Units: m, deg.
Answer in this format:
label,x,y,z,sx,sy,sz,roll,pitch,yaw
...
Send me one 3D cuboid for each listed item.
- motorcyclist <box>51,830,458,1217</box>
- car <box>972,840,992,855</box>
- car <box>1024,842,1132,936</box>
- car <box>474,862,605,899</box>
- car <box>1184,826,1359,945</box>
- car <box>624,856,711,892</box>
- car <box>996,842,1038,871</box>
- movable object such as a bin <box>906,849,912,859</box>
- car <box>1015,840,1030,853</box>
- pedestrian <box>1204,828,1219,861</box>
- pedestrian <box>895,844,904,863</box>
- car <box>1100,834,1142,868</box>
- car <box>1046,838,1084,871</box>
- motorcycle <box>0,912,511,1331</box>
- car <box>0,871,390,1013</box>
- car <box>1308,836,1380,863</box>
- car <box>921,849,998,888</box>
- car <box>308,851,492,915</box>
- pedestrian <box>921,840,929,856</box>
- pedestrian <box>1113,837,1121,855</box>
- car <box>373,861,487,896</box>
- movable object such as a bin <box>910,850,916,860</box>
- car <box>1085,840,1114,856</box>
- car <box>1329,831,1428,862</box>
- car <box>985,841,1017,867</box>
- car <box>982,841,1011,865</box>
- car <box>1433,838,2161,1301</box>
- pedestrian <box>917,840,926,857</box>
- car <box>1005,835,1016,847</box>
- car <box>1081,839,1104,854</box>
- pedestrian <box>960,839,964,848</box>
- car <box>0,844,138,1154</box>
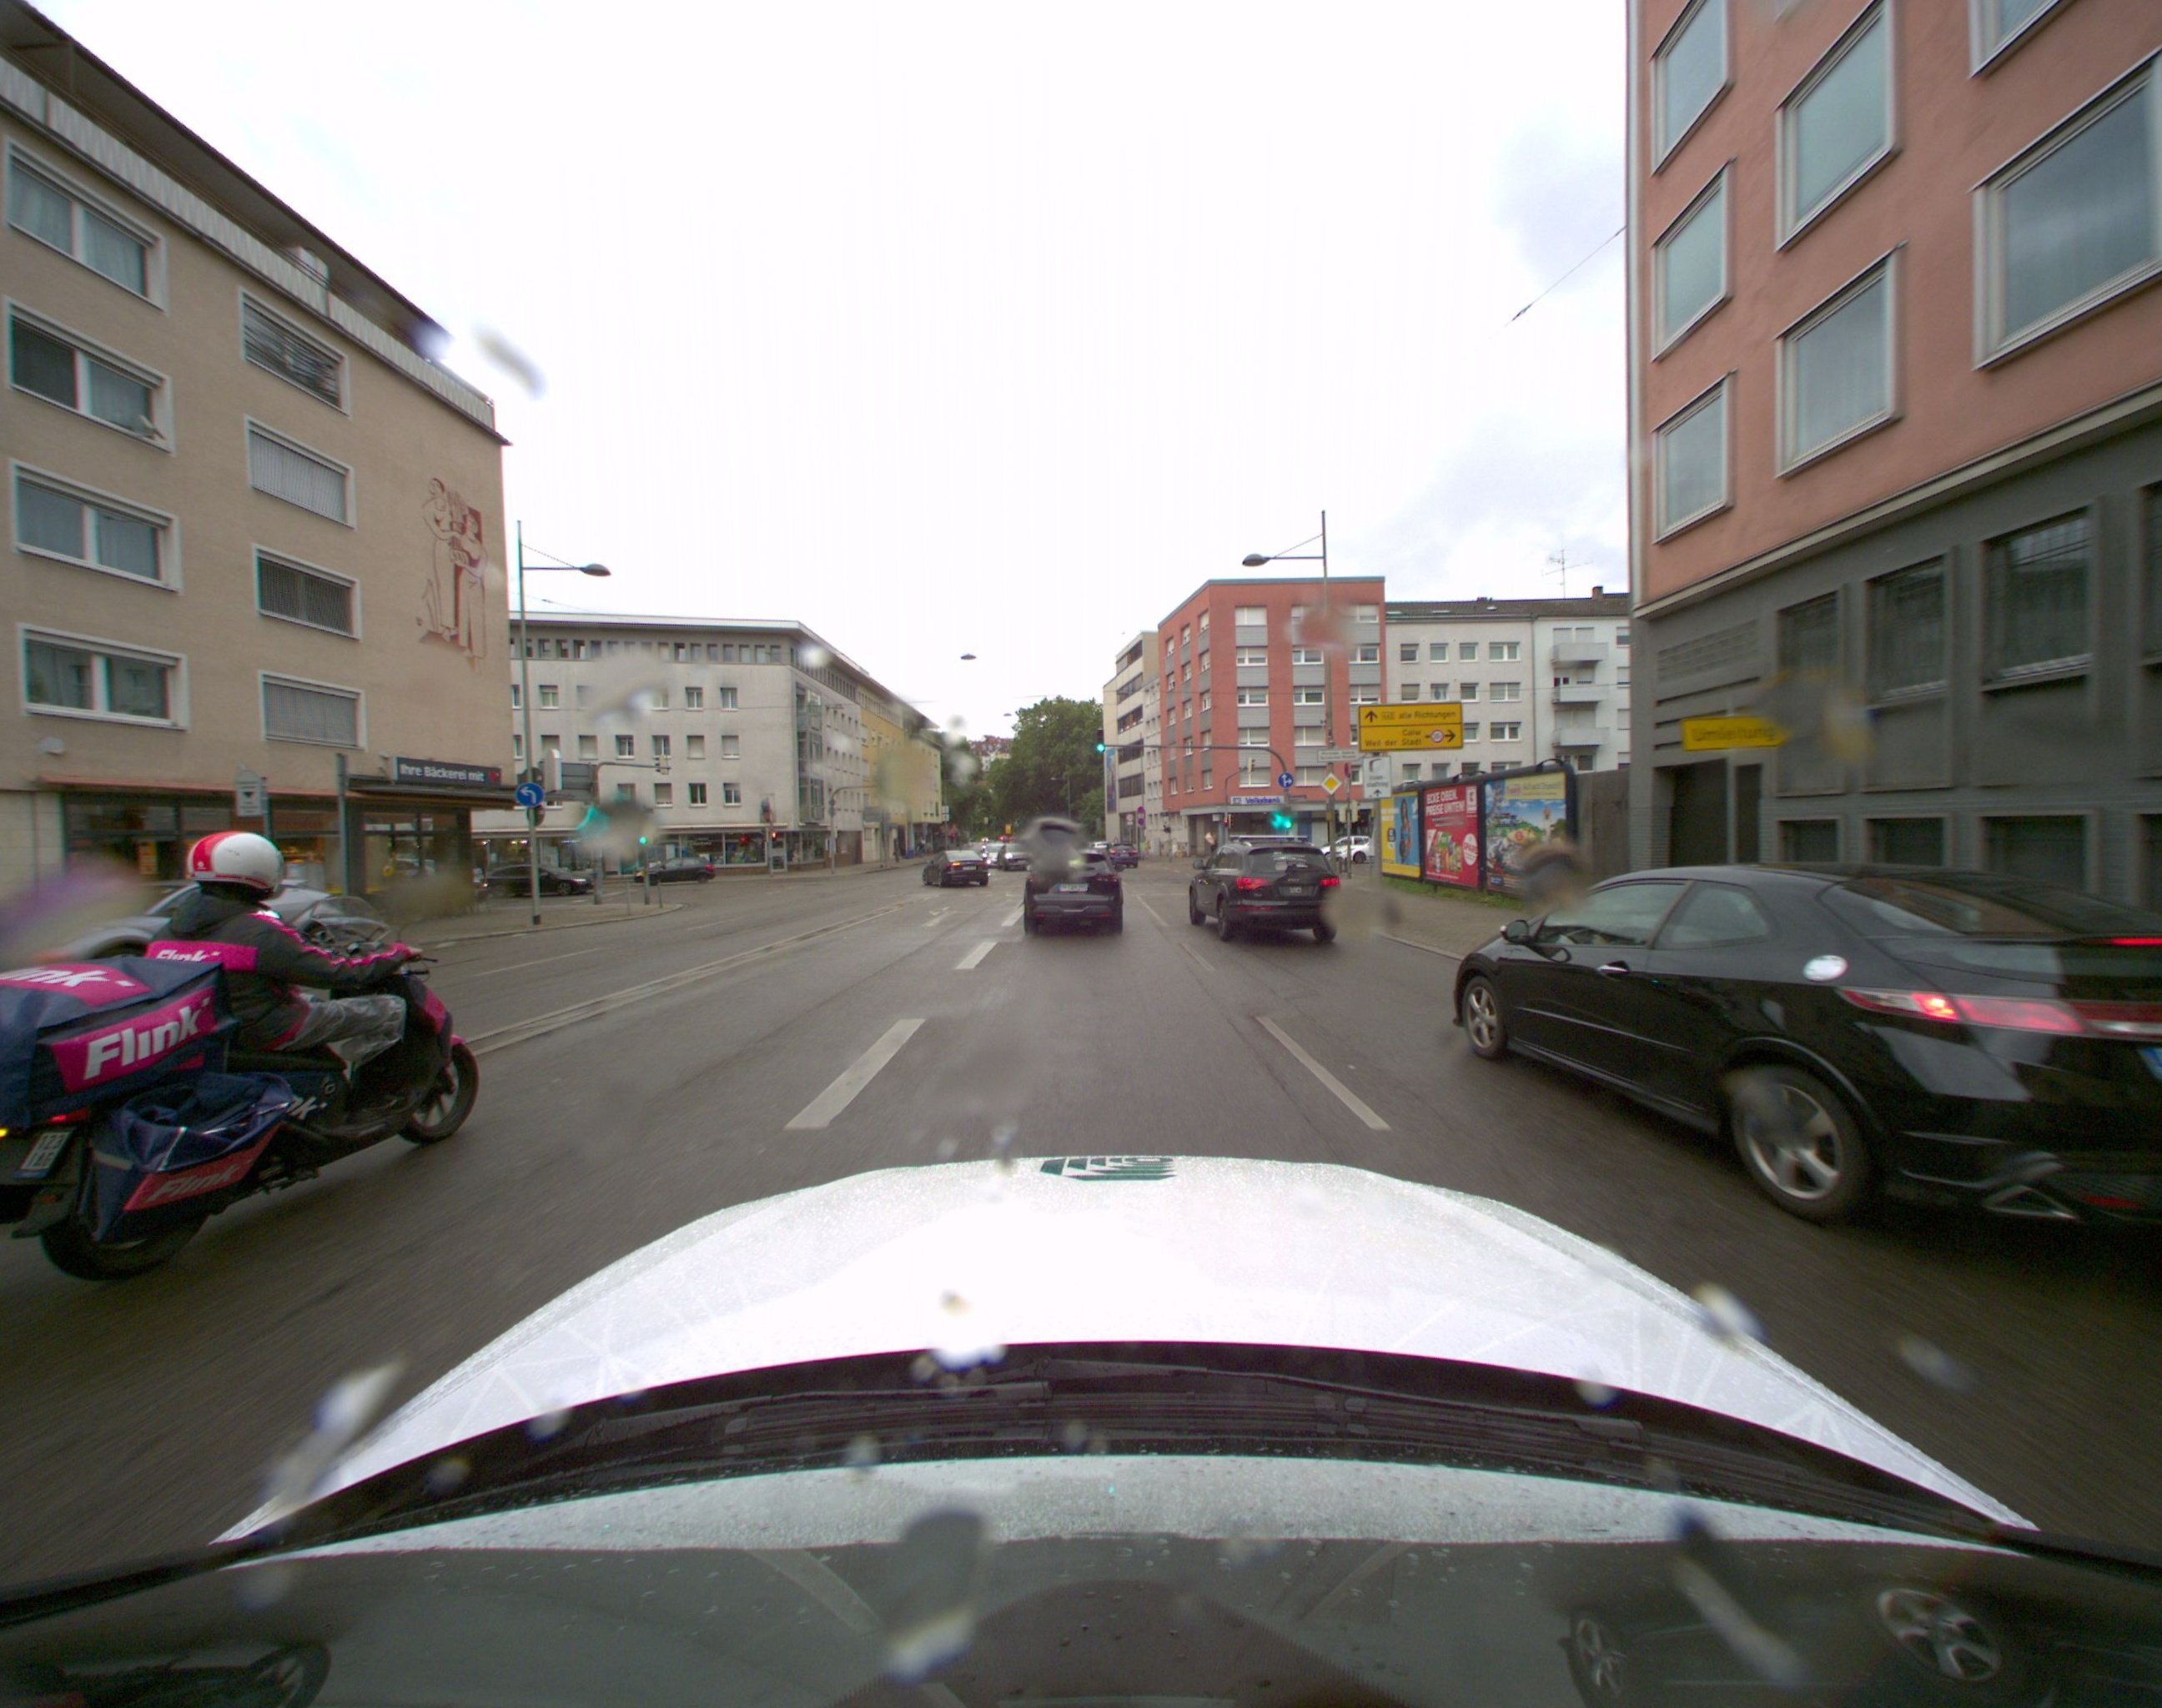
label,x,y,z,sx,sy,sz,roll,pitch,yaw
motorcyclist,-3.550,0.652,3.613,0.913,1.493,0.863,0,0,-5
car,-12.225,-0.821,100.696,1.988,1.859,3.998,0,1,-2
car,-0.119,0.611,16.223,1.890,1.629,3.997,0,0,-2
car,-24.129,1.161,36.443,4.324,1.376,2.041,-2,3,-9
car,3.317,0.473,15.267,2.016,1.869,4.896,0,0,-2
car,-22.083,1.045,43.630,4.007,1.626,1.684,-3,1,-26
car,-3.800,0.101,47.709,1.858,1.553,4.207,-2,1,-13
movable object such as a bin,-17.514,0.006,82.865,0.452,0.929,0.502,-1,1,0
car,-7.722,-1.019,107.694,1.819,1.612,3.857,0,1,-7
pedestrian,8.644,-0.654,53.906,0.823,2.158,0.769,0,1,-1
pedestrian,-15.881,-0.044,71.283,0.684,1.581,0.652,1,1,0
car,2.326,-0.189,48.347,1.941,1.816,3.996,-4,1,-3
car,-0.947,-0.004,46.803,1.942,1.684,3.995,-4,1,-3
motorcycle,-3.562,0.946,3.701,0.586,1.191,2.099,0,1,-4
car,-13.443,1.156,12.266,1.900,1.554,4.633,-3,0,2
car,16.341,-0.281,50.675,3.935,1.486,1.702,-2,1,-2
car,-4.976,0.527,32.783,2.002,1.388,4.466,-2,1,-23
car,-25.018,1.031,30.088,4.843,2.103,2.043,-2,-1,-5
pedestrian,-17.167,-0.689,89.475,0.797,1.688,0.815,-2,1,-8
pedestrian,3.719,-0.837,84.404,0.613,1.737,0.678,-4,1,-14
car,-35.443,1.298,44.493,4.331,1.631,2.037,-2,1,-13
movable object such as a bin,-17.583,0.062,85.246,0.398,1.006,0.545,-1,1,0
car,1.711,-0.583,75.650,1.774,1.401,4.565,-4,2,-9
car,15.952,-0.413,43.799,4.640,1.486,1.918,-2,1,-3
car,-5.245,0.007,53.321,1.932,1.526,4.125,-2,0,-7
car,-6.026,-0.081,58.478,1.816,1.608,4.426,-2,0,-3
car,3.775,0.704,4.681,1.778,1.497,4.056,0,0,0
pedestrian,-17.082,-0.636,87.268,0.863,1.788,0.874,1,1,-1
car,-11.358,-2.093,131.298,1.818,1.796,3.860,0,1,-5
car,1.123,-0.774,82.121,1.713,1.442,4.073,-4,2,-6
pedestrian,-22.776,-2.017,155.783,0.667,1.791,0.718,0,1,-14
car,-6.715,0.838,2.809,1.856,1.647,4.253,-3,1,0
